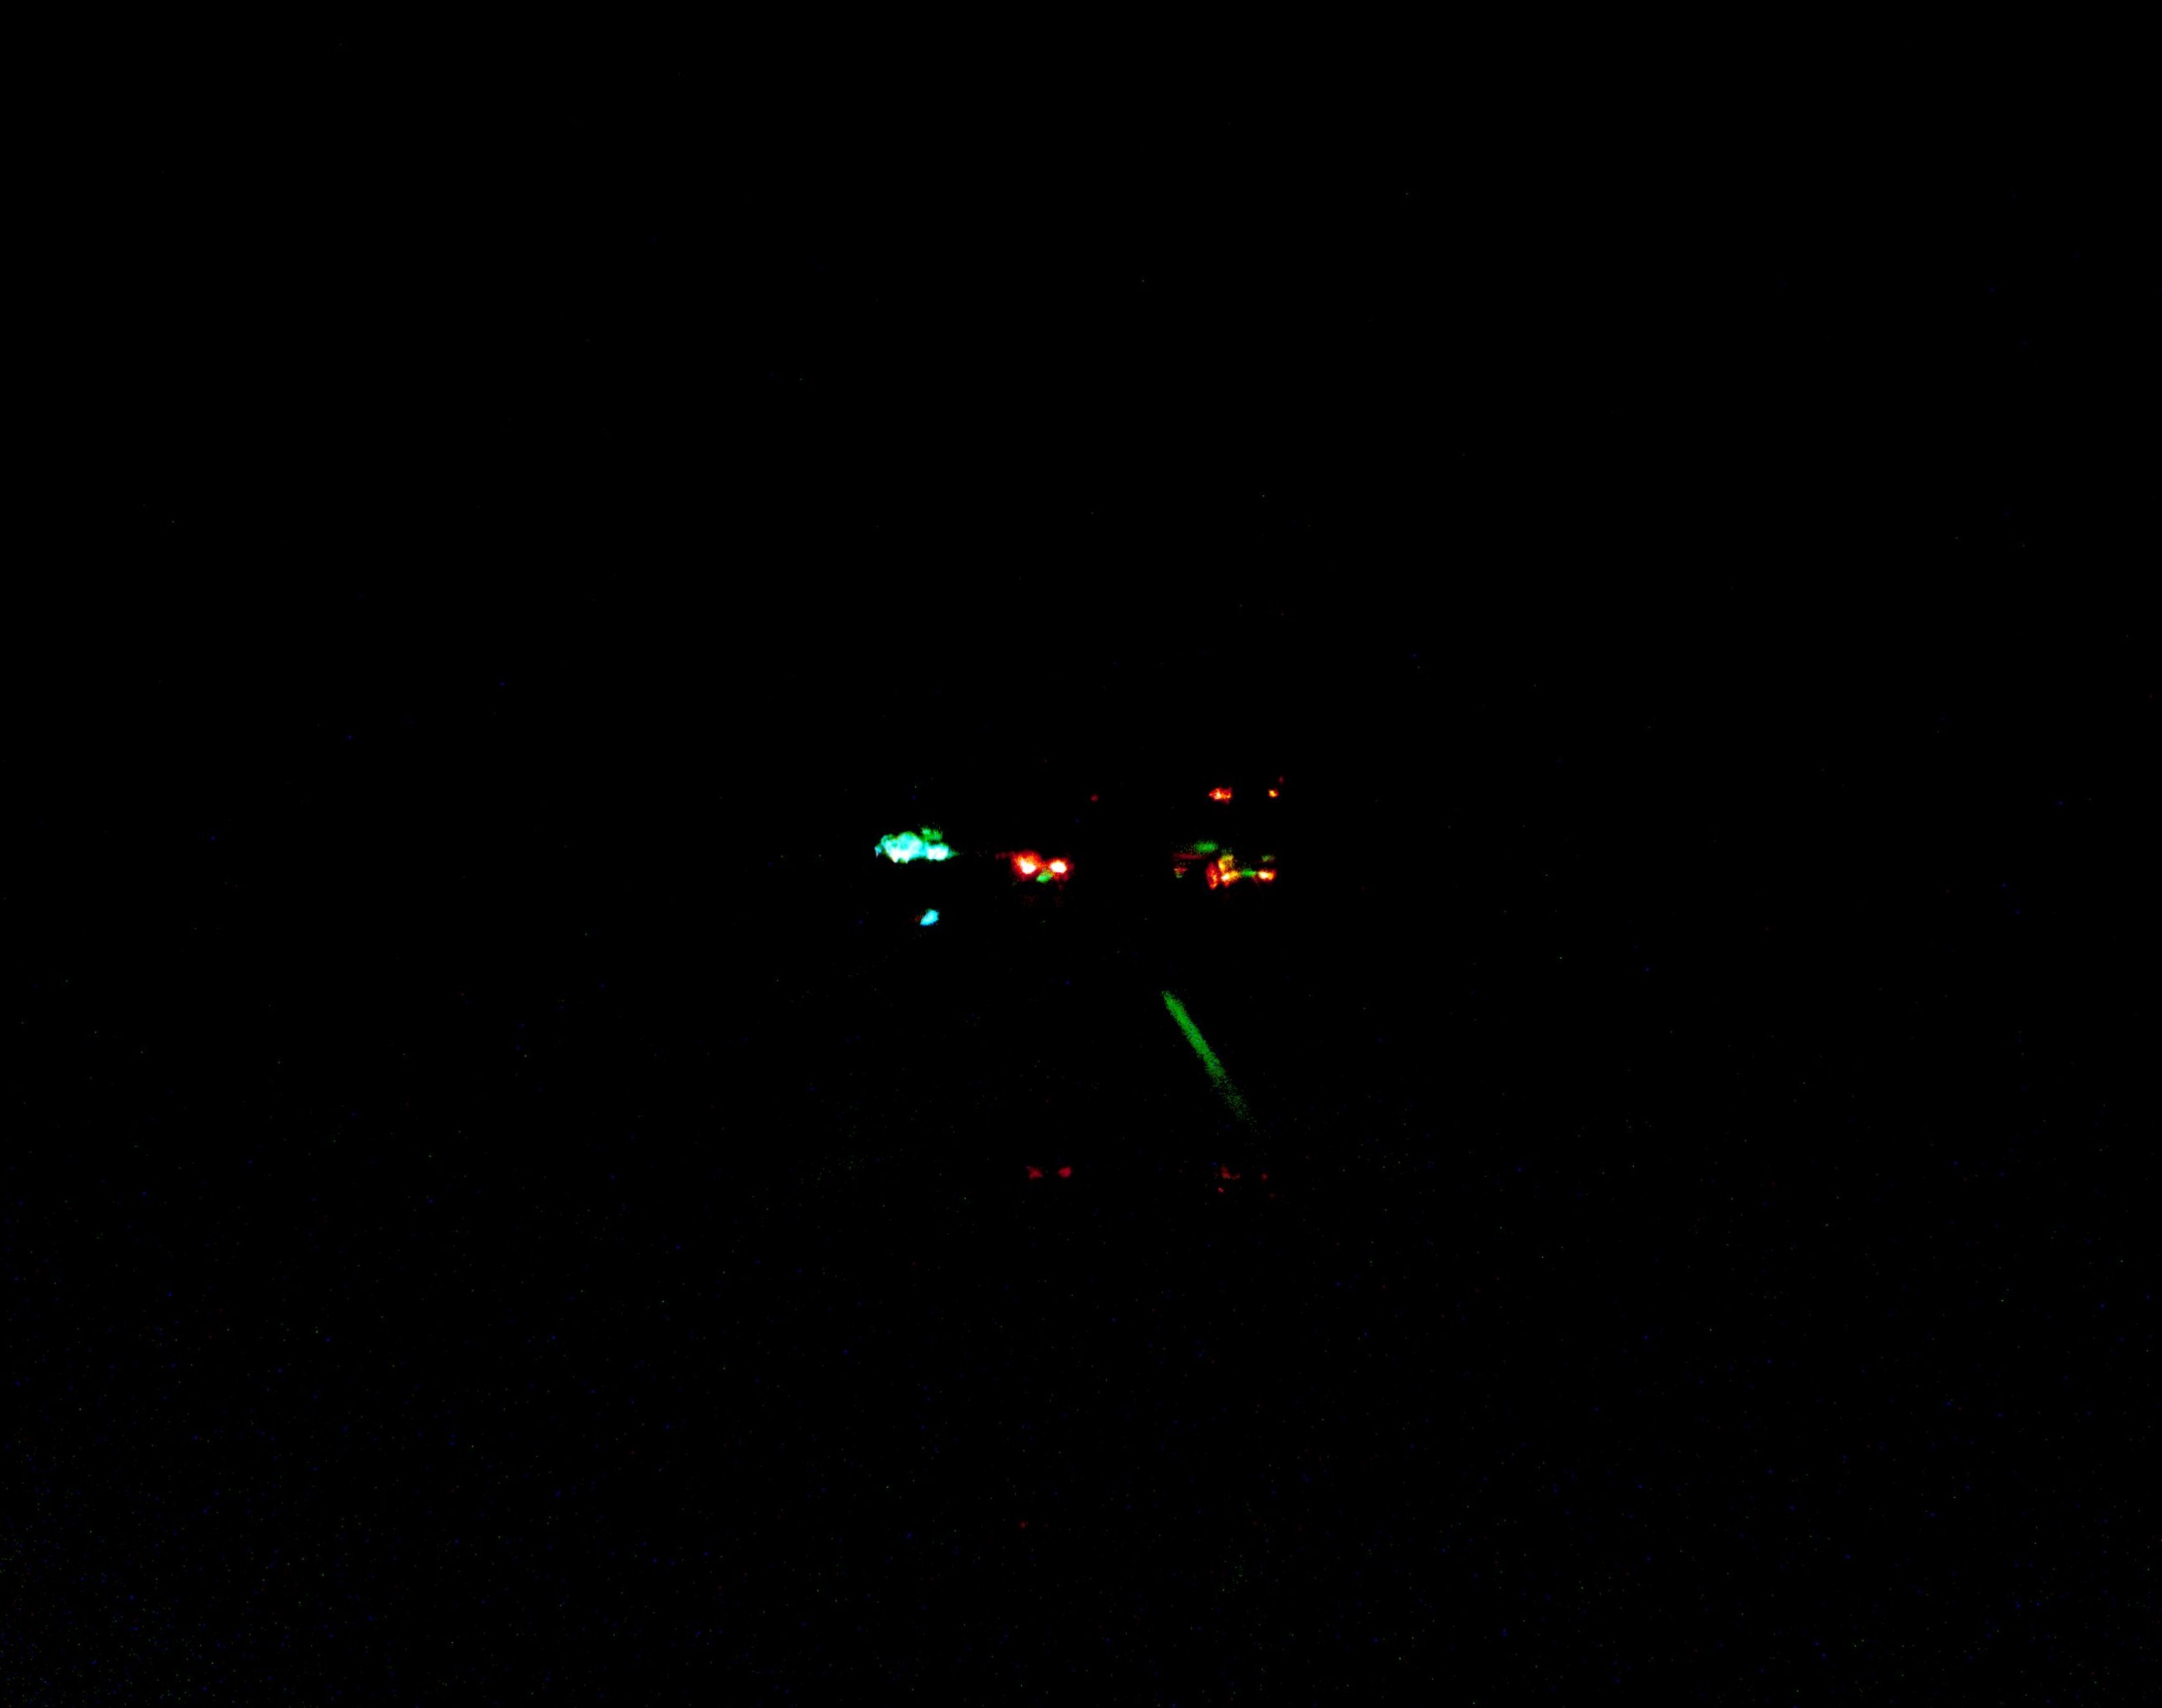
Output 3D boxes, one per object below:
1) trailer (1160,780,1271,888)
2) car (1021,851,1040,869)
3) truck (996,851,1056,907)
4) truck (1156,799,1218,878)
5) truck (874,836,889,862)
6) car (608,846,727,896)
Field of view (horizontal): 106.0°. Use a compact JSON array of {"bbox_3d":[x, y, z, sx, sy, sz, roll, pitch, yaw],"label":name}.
[{"bbox_3d":[6.093,-0.818,39.641,2.732,4.248,13.363,-2,0,-1],"label":"trailer"},{"bbox_3d":[-5.640,0.652,90.971,1.989,2.014,3.995,-1,0,-4],"label":"car"},{"bbox_3d":[-2.344,1.012,36.442,2.138,2.077,6.602,4,1,0],"label":"truck"},{"bbox_3d":[5.923,-0.838,46.256,2.703,4.241,5.290,0,0,-1],"label":"truck"},{"bbox_3d":[-41.848,-1.140,170.916,2.754,5.097,5.858,3,1,-13],"label":"truck"},{"bbox_3d":[-14.319,0.538,28.474,1.987,1.478,4.001,4,1,0],"label":"car"}]
